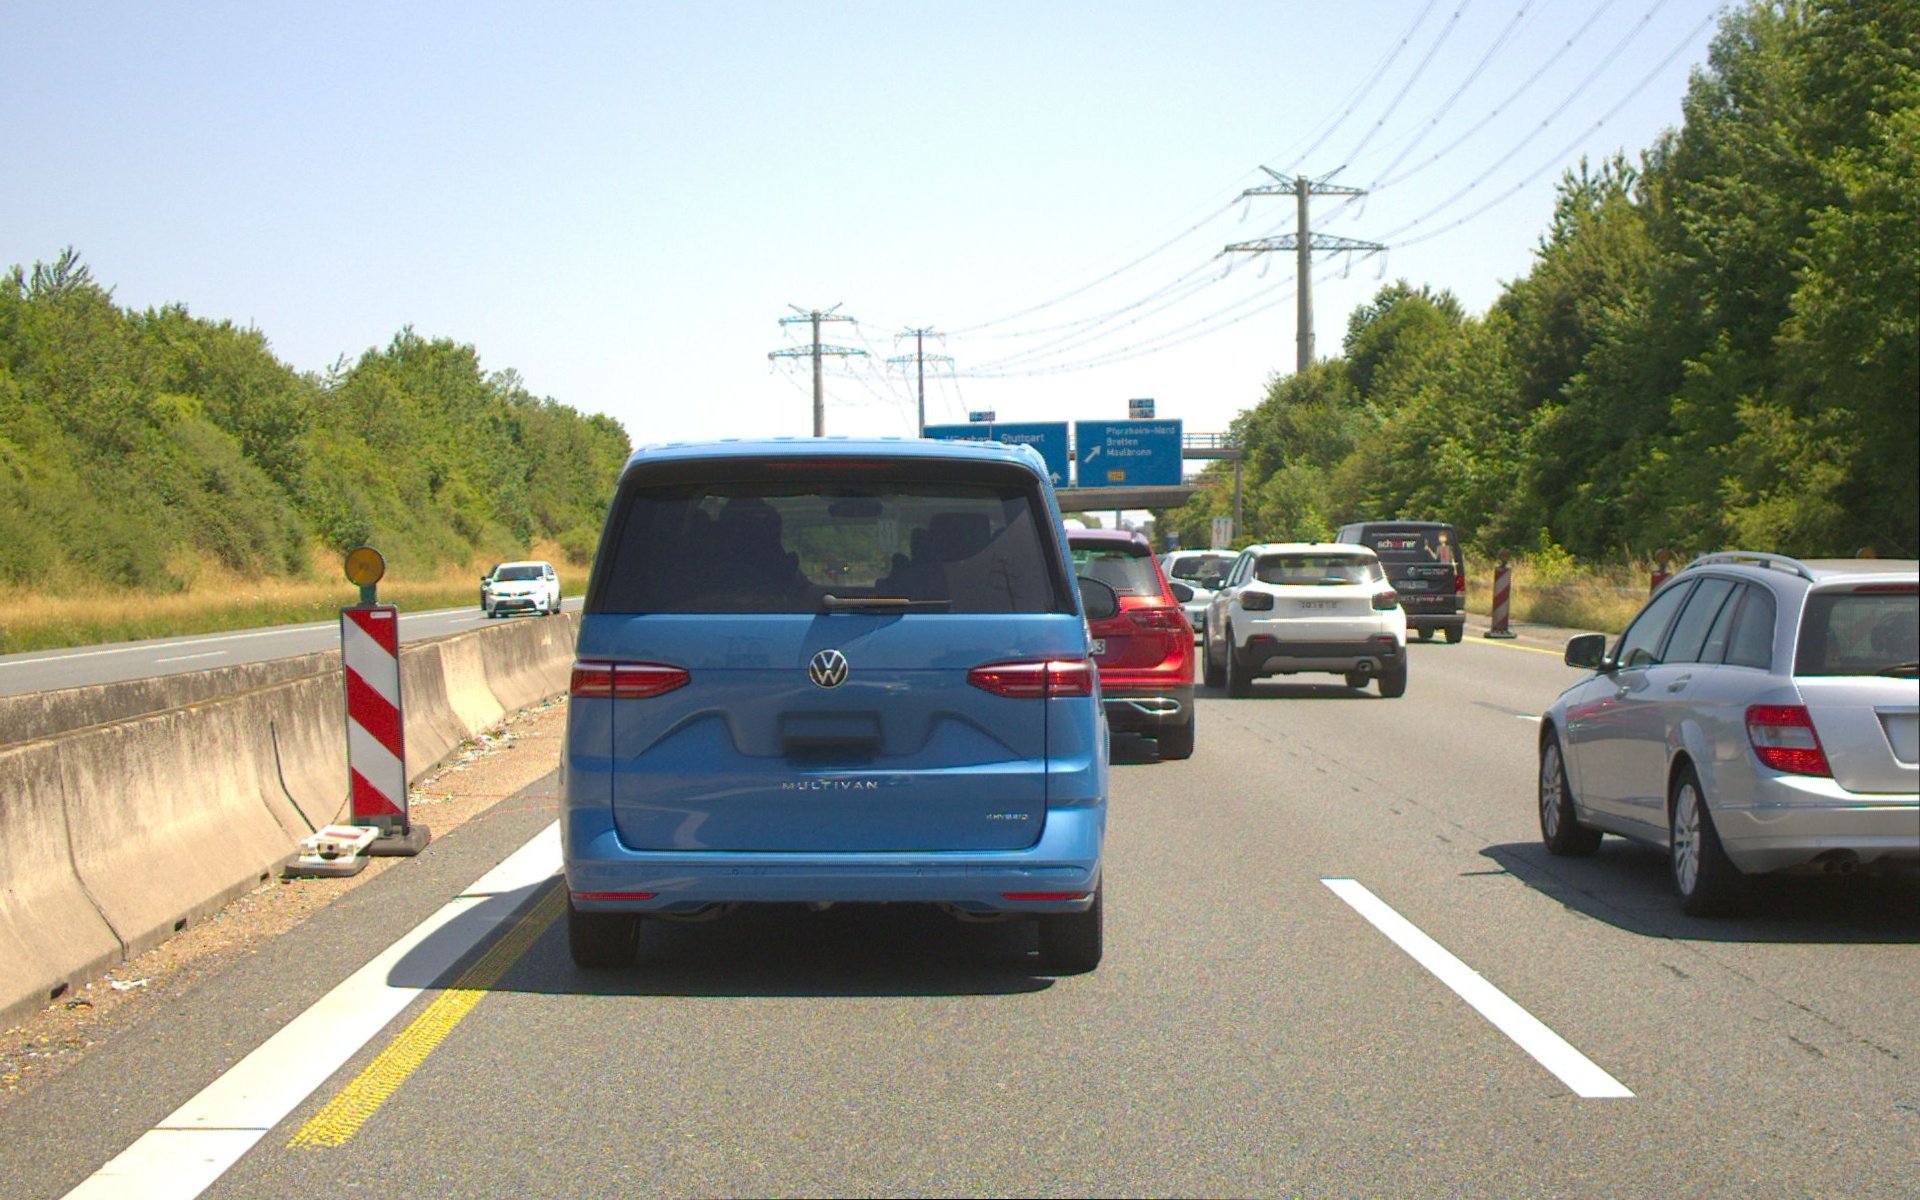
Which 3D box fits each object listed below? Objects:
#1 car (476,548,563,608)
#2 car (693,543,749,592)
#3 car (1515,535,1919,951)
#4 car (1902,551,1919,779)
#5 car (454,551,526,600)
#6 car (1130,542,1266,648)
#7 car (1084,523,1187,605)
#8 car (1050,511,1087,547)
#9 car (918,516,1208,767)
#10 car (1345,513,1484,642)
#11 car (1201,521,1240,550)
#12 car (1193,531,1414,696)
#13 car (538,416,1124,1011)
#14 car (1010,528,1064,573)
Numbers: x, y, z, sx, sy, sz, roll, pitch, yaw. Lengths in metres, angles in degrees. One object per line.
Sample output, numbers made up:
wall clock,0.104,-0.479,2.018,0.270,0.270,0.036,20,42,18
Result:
car,-12.783,-0.658,99.948,1.993,1.656,4.230,-1,1,-1
car,-8.546,-1.165,123.105,1.773,1.693,4.171,1,1,-1
car,3.681,0.502,14.759,1.770,1.512,4.360,1,1,-1
car,6.960,0.442,20.297,1.701,1.443,3.788,1,1,-1
car,-17.295,-0.919,126.757,1.993,1.644,4.630,-3,1,0
car,3.728,-0.096,54.542,1.797,1.588,4.227,1,1,-1
car,3.530,-0.740,69.770,1.797,1.588,4.227,1,1,-1
car,7.497,-4.920,237.730,2.377,2.420,4.227,1,1,-1
car,0.669,0.255,25.349,1.874,1.665,4.360,1,1,-1
car,7.395,-0.381,56.238,1.798,2.007,4.227,1,1,2
car,15.661,-3.853,206.760,1.874,1.665,4.360,1,1,-1
car,3.492,0.105,35.628,1.797,1.588,4.227,1,1,-1
car,-0.472,0.343,13.341,1.874,1.905,4.360,1,1,-1
car,2.780,-1.783,124.897,1.797,1.588,4.227,1,1,-1
